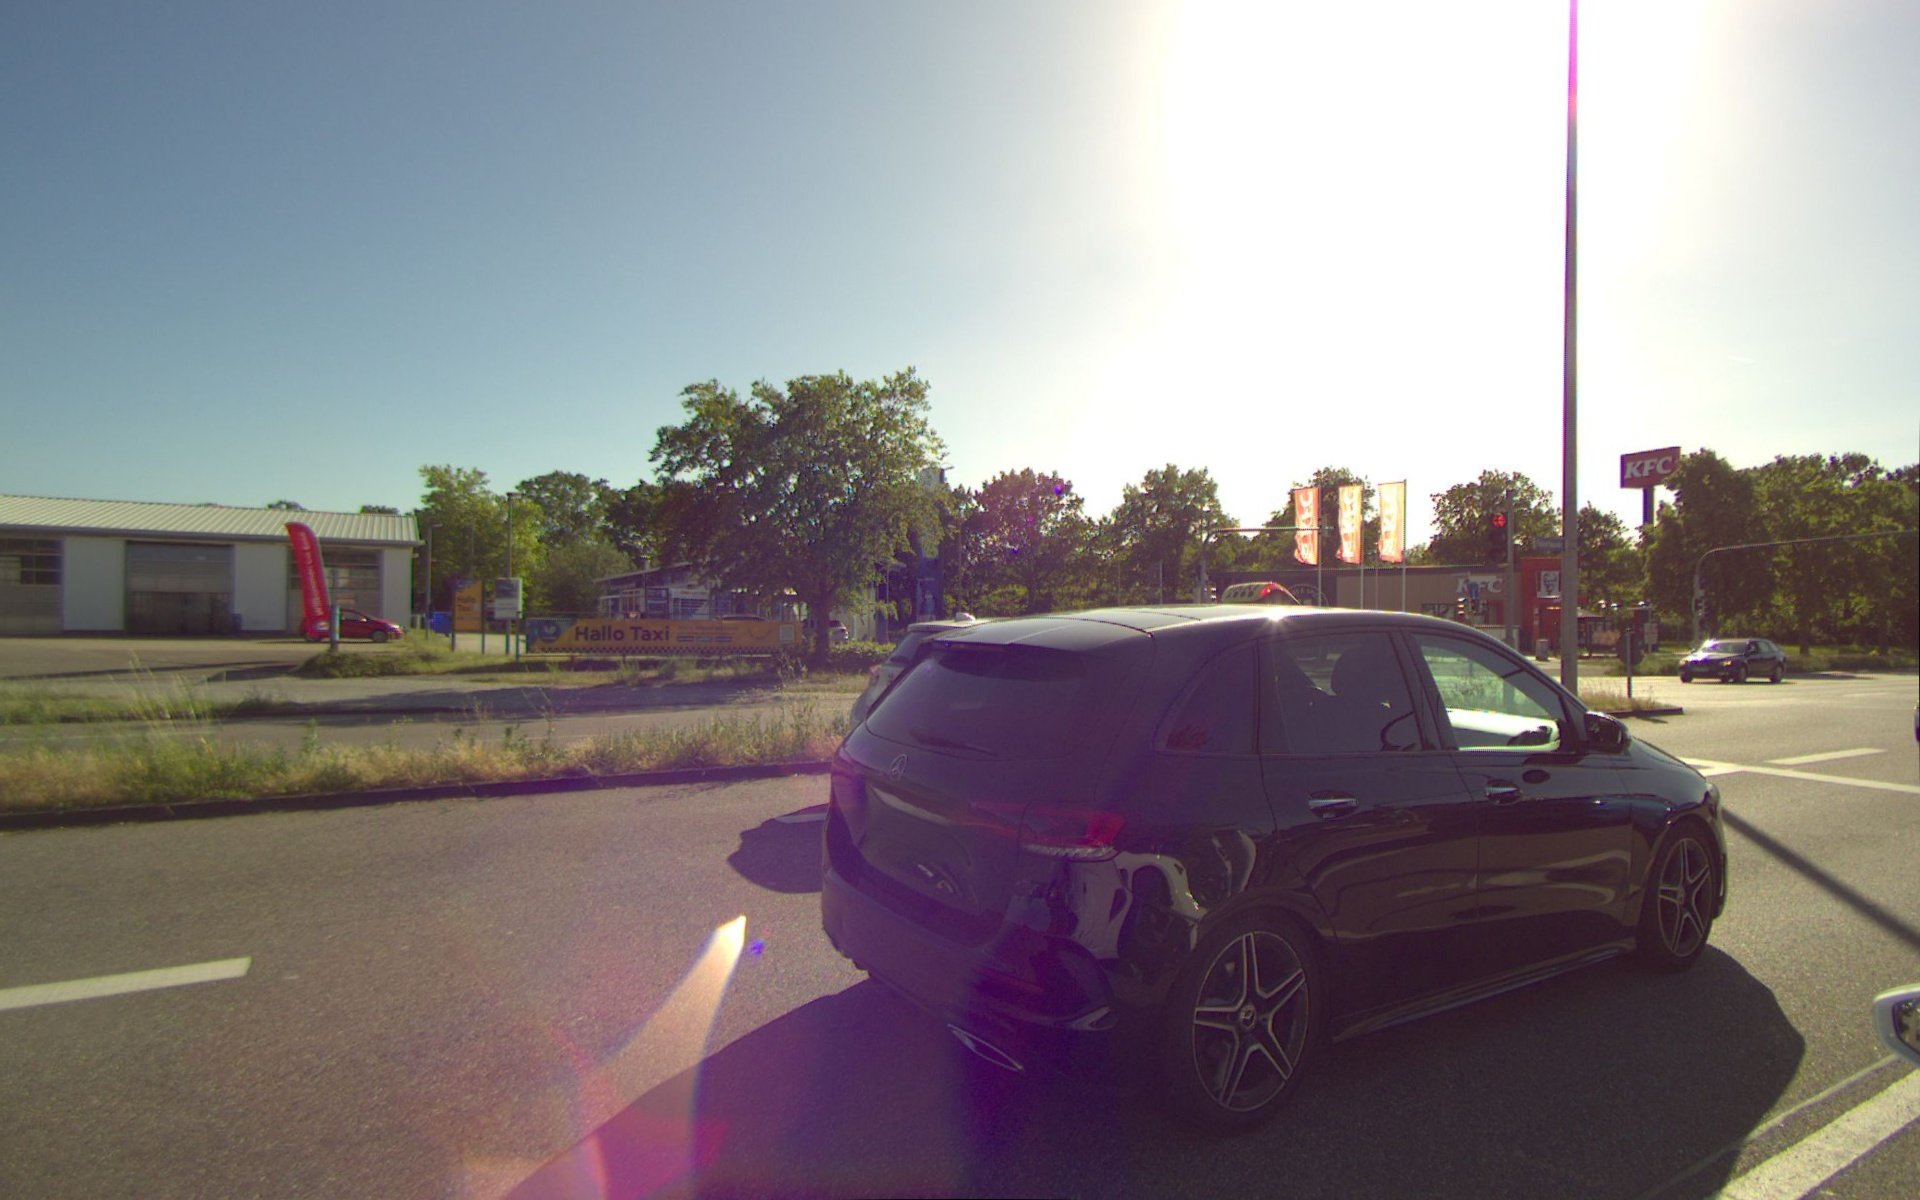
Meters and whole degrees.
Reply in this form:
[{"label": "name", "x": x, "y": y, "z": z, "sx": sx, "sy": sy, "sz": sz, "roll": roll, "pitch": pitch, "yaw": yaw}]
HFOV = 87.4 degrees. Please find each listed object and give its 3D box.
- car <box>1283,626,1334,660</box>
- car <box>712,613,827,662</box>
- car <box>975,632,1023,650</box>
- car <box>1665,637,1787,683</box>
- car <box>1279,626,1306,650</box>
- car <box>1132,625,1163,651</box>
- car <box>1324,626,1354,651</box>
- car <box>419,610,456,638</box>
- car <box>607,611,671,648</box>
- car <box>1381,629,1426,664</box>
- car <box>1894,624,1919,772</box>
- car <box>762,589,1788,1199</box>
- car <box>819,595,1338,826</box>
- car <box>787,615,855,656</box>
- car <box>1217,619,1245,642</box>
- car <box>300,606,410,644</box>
[{"label": "car", "x": 19.696, "y": 2.377, "z": 56.594, "sx": 1.964, "sy": 1.788, "sz": 4.349, "roll": 2, "pitch": 0, "yaw": 29}, {"label": "car", "x": -7.317, "y": 1.449, "z": 38.704, "sx": 3.953, "sy": 1.706, "sz": 1.859, "roll": 2, "pitch": 0, "yaw": -30}, {"label": "car", "x": 3.408, "y": 3.537, "z": 87.414, "sx": 3.864, "sy": 1.481, "sz": 1.663, "roll": 0, "pitch": -1, "yaw": 14}, {"label": "car", "x": 26.150, "y": 2.038, "z": 34.276, "sx": 4.426, "sy": 1.510, "sz": 1.751, "roll": 2, "pitch": -3, "yaw": -30}, {"label": "car", "x": 22.613, "y": 2.569, "z": 68.304, "sx": 1.629, "sy": 1.491, "sz": 3.919, "roll": 2, "pitch": 0, "yaw": 18}, {"label": "car", "x": 13.118, "y": 2.639, "z": 70.204, "sx": 1.629, "sy": 1.695, "sz": 3.945, "roll": 2, "pitch": 0, "yaw": 18}, {"label": "car", "x": 25.252, "y": 2.538, "z": 67.040, "sx": 1.629, "sy": 1.491, "sz": 3.919, "roll": 2, "pitch": 0, "yaw": 18}, {"label": "car", "x": -28.310, "y": 1.286, "z": 54.410, "sx": 1.635, "sy": 1.383, "sz": 3.744, "roll": 2, "pitch": 0, "yaw": -29}, {"label": "car", "x": -15.412, "y": 1.373, "z": 48.120, "sx": 1.979, "sy": 1.584, "sz": 3.964, "roll": 2, "pitch": 0, "yaw": -33}, {"label": "car", "x": 24.446, "y": 2.534, "z": 55.292, "sx": 1.880, "sy": 1.776, "sz": 4.349, "roll": 2, "pitch": 0, "yaw": 29}, {"label": "car", "x": 12.002, "y": 1.085, "z": 10.784, "sx": 4.354, "sy": 1.510, "sz": 1.775, "roll": 2, "pitch": 0, "yaw": -32}, {"label": "car", "x": 1.558, "y": 0.799, "z": 4.259, "sx": 4.355, "sy": 1.510, "sz": 1.749, "roll": 2, "pitch": 0, "yaw": -33}, {"label": "car", "x": 1.091, "y": 0.798, "z": 8.491, "sx": 4.150, "sy": 1.510, "sz": 1.750, "roll": 2, "pitch": 0, "yaw": -32}, {"label": "car", "x": -6.208, "y": 1.532, "z": 44.544, "sx": 1.839, "sy": 1.613, "sz": 3.973, "roll": 2, "pitch": 0, "yaw": -26}, {"label": "car", "x": 18.621, "y": 2.092, "z": 69.049, "sx": 1.629, "sy": 1.491, "sz": 3.919, "roll": 2, "pitch": 0, "yaw": 18}, {"label": "car", "x": -26.678, "y": 1.090, "z": 44.465, "sx": 3.947, "sy": 1.536, "sz": 1.772, "roll": 2, "pitch": 0, "yaw": -26}]
